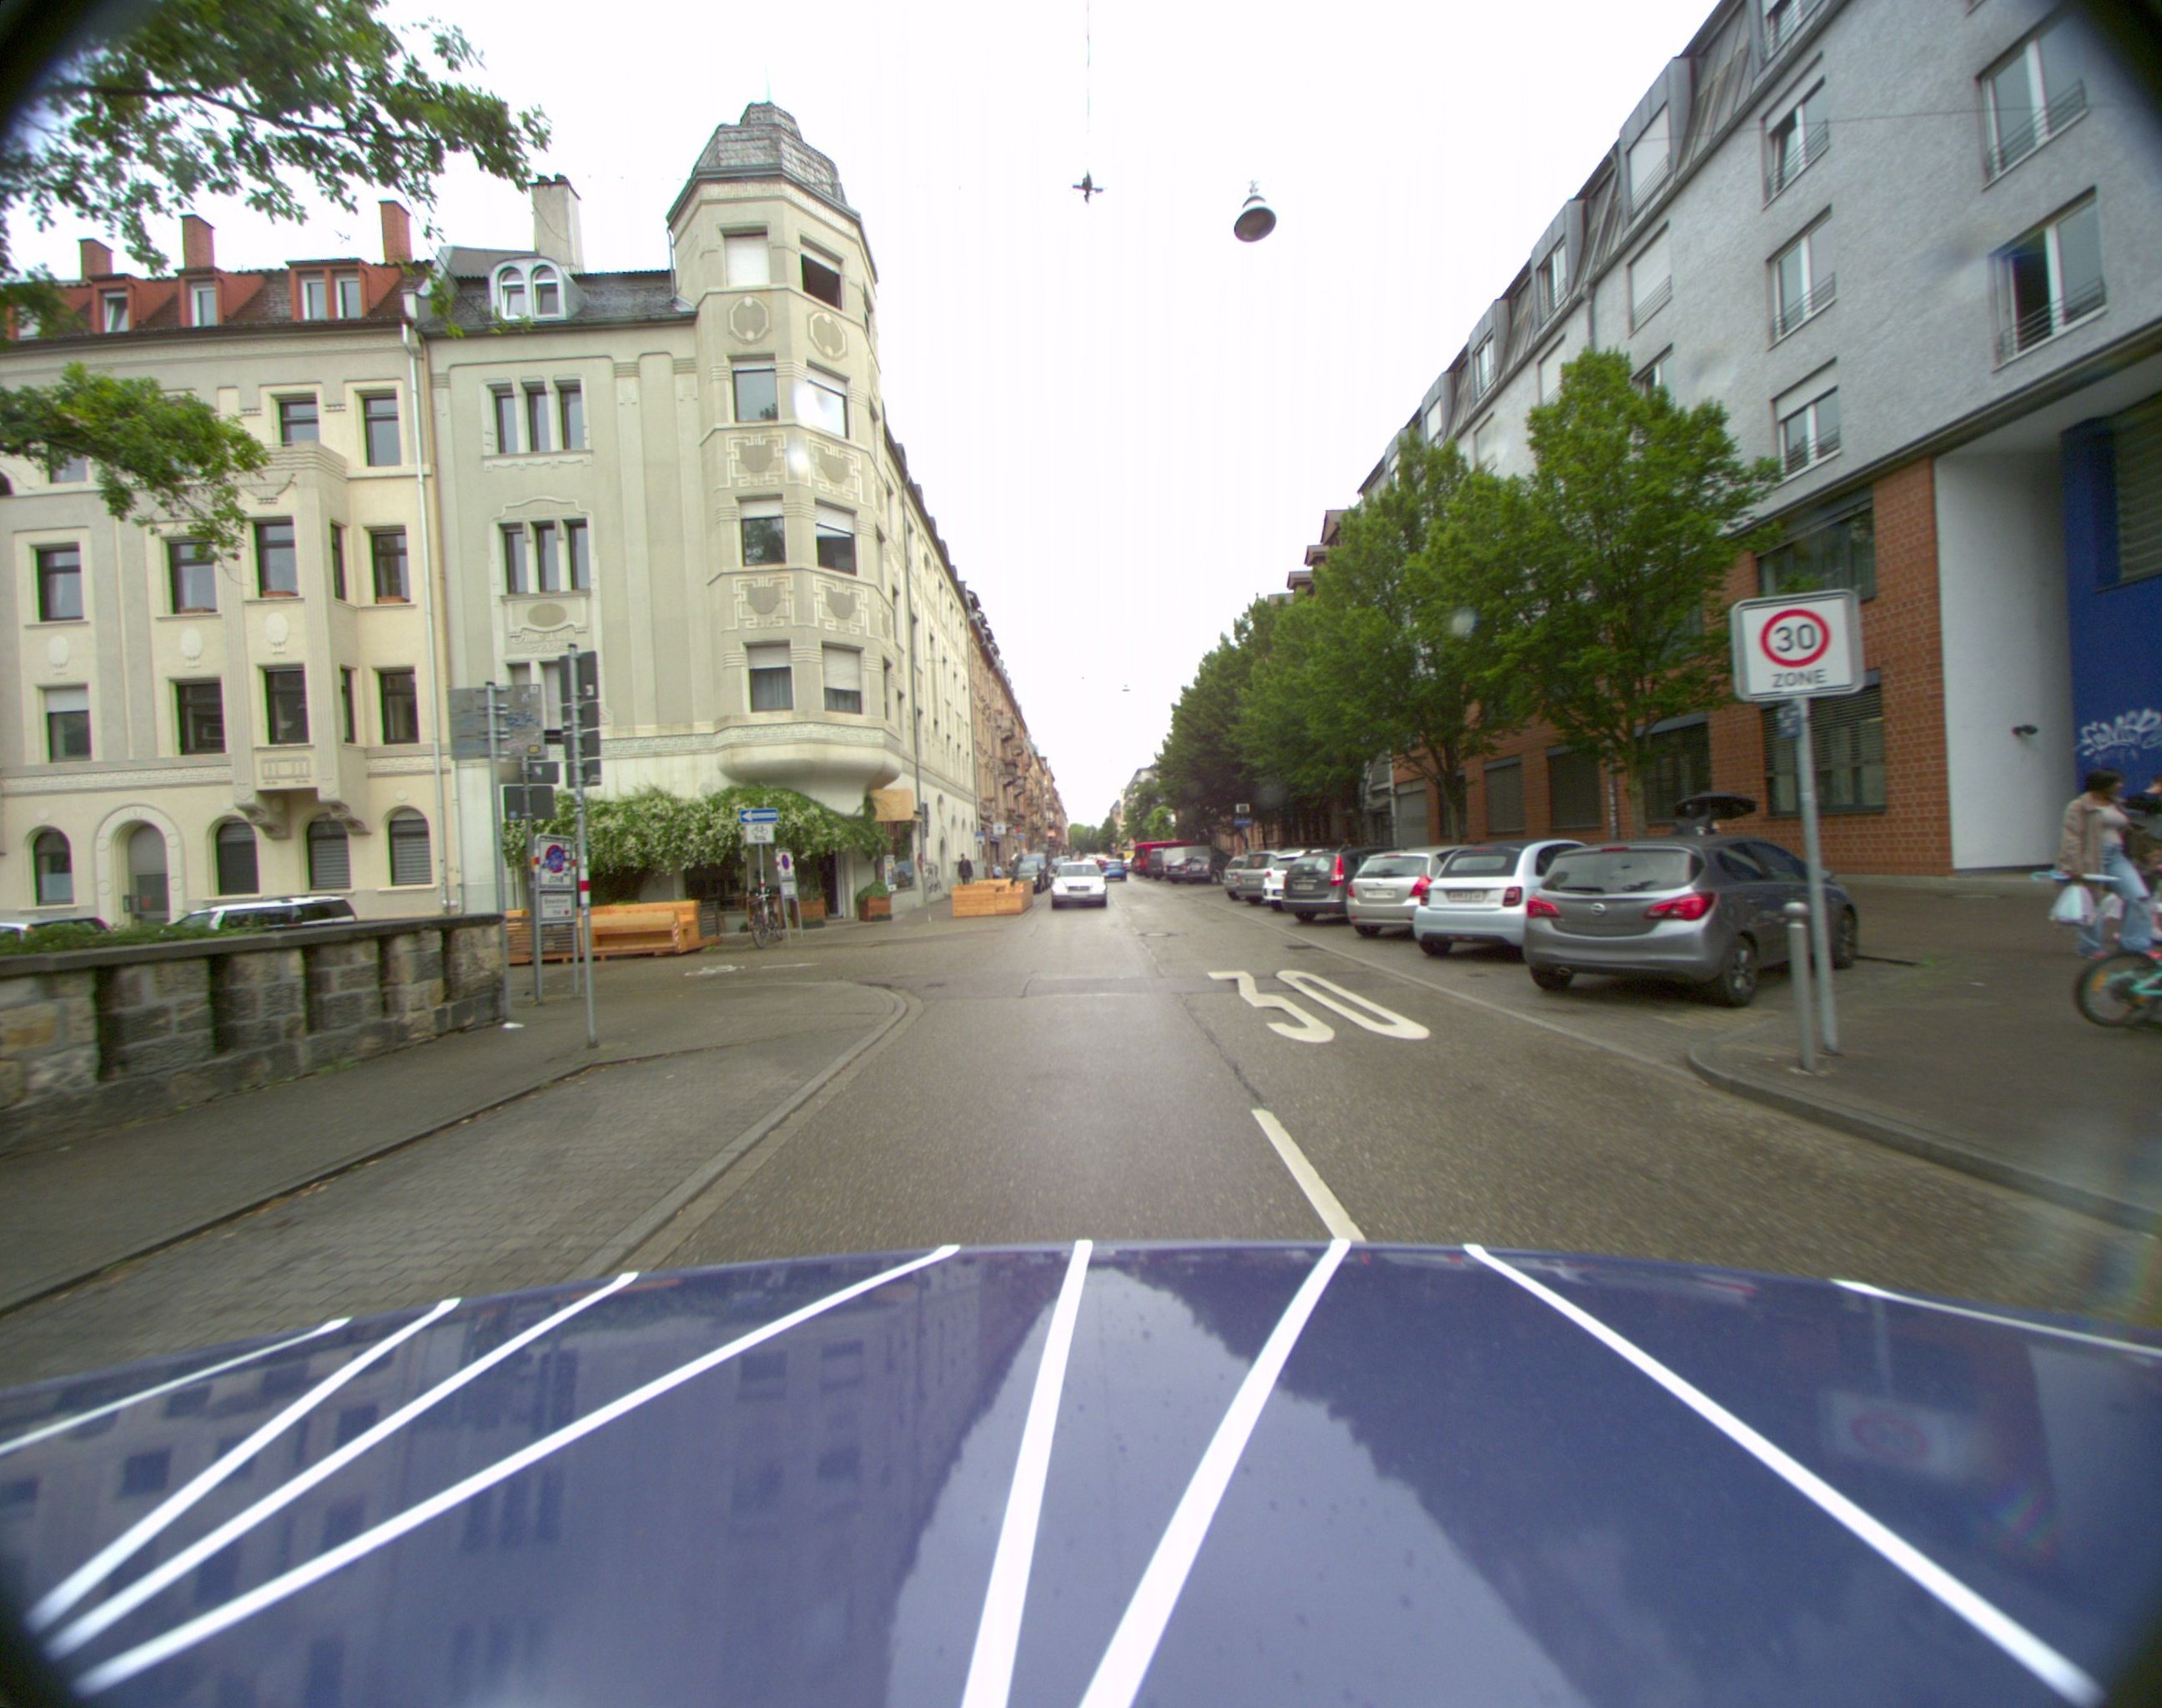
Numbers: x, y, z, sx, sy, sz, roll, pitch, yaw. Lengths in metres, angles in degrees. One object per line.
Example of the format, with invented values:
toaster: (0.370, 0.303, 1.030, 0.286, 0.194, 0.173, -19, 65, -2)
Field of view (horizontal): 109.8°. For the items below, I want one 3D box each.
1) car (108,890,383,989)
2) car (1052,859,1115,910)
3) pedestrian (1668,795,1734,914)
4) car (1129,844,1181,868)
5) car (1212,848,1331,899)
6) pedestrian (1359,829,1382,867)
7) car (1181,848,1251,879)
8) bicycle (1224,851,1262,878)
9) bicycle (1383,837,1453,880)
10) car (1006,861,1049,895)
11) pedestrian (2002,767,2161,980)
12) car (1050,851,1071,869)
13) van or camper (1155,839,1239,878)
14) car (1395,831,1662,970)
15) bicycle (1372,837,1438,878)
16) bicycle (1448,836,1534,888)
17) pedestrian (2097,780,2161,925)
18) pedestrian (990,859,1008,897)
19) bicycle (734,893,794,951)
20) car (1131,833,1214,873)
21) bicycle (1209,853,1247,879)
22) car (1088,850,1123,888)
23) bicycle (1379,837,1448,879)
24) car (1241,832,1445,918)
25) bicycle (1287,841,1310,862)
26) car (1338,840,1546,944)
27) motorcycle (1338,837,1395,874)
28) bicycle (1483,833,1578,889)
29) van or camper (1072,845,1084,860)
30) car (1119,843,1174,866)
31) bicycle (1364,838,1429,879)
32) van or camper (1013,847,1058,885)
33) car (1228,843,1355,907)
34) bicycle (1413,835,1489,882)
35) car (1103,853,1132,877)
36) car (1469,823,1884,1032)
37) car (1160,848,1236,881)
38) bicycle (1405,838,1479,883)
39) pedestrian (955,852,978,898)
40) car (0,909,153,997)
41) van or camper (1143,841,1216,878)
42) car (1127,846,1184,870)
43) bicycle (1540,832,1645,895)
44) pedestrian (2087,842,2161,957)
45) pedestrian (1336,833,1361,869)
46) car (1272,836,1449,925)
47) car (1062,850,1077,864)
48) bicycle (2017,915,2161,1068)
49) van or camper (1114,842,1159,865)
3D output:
car: (-18.355, 1.831, 16.855, 3.851, 1.690, 1.813, -3, 4, -1)
car: (0.029, 0.942, 25.744, 1.859, 1.390, 4.979, -3, 0, -1)
pedestrian: (9.187, -0.001, 11.266, 0.613, 1.698, 0.433, -3, 3, 1)
car: (7.003, 0.166, 72.427, 4.590, 1.775, 2.545, -5, 0, 0)
car: (6.244, 0.607, 24.756, 3.720, 1.443, 1.681, -2, 0, -35)
pedestrian: (12.564, -0.248, 32.998, 0.568, 1.593, 0.589, -7, 1, -5)
car: (6.934, 0.473, 38.860, 3.487, 1.427, 1.647, -2, 0, -42)
bicycle: (7.602, 0.517, 35.698, 0.784, 1.151, 2.144, -4, -1, -16)
bicycle: (10.897, 0.158, 24.592, 1.901, 1.145, 0.553, -7, 1, -2)
car: (-2.443, 1.075, 35.531, 1.714, 1.392, 3.704, -2, 0, 0)
pedestrian: (9.065, 0.147, 6.692, 0.827, 1.742, 0.757, -5, 0, 7)
car: (-2.145, 0.622, 79.954, 1.999, 1.769, 4.825, -2, 0, -1)
van or camper: (7.037, 0.256, 45.823, 4.705, 1.941, 2.331, -5, 0, -41)
car: (6.229, 0.546, 10.534, 3.391, 1.499, 1.677, -4, 1, -30)
bicycle: (10.916, 0.119, 25.622, 1.901, 1.145, 0.553, -7, 1, -2)
bicycle: (10.969, 0.215, 20.353, 1.901, 1.145, 0.553, -7, 1, -2)
pedestrian: (11.935, -0.036, 8.297, 0.710, 1.542, 0.608, -5, 0, 7)
pedestrian: (-4.399, 1.290, 40.833, 0.827, 2.003, 0.415, -3, 3, 1)
bicycle: (-6.922, 1.455, 16.682, 0.453, 0.974, 1.919, -3, 3, 0)
car: (6.715, -0.079, 55.497, 5.580, 2.526, 2.225, -4, 0, -27)
bicycle: (6.844, 0.585, 35.481, 0.751, 1.151, 2.218, -4, -1, -16)
car: (2.294, 1.397, 69.349, 1.671, 1.543, 4.027, -5, -34, 23)
bicycle: (10.955, 0.137, 25.064, 1.901, 1.145, 0.553, -7, 1, -2)
car: (6.651, 0.451, 19.257, 4.530, 1.531, 2.332, -7, 3, -28)
bicycle: (13.501, -0.148, 47.232, 0.669, 1.186, 2.413, -7, 0, 1)
car: (6.314, 0.586, 13.222, 3.391, 1.449, 1.677, -4, 1, -33)
motorcycle: (11.124, 0.062, 29.645, 1.886, 1.218, 0.657, -7, 0, 4)
bicycle: (11.022, 0.169, 18.649, 1.901, 1.145, 0.553, -7, 1, -2)
van or camper: (-0.662, -0.280, 172.334, 2.411, 3.308, 7.072, -4, 0, -1)
car: (6.692, 0.046, 77.742, 5.258, 2.066, 1.866, -4, 1, -24)
bicycle: (10.865, 0.149, 26.157, 1.901, 1.145, 0.553, -7, 1, -2)
van or camper: (-2.373, 0.606, 40.863, 2.026, 1.880, 5.054, -2, 0, 0)
car: (6.080, 0.563, 21.876, 3.392, 1.645, 1.630, -2, 1, -32)
bicycle: (10.998, 0.131, 22.601, 1.901, 1.145, 0.553, -7, 1, -2)
car: (2.446, 0.737, 52.107, 1.674, 1.457, 4.003, -2, 0, -1)
car: (6.104, 0.560, 7.751, 3.836, 1.499, 1.984, -4, 1, -30)
car: (6.431, 0.545, 41.557, 3.985, 1.438, 1.763, -5, 1, -40)
bicycle: (11.035, 0.201, 23.227, 1.901, 1.145, 0.553, -7, 1, -2)
pedestrian: (-4.897, 0.899, 32.534, 0.827, 1.940, 0.415, -3, 3, 1)
car: (-23.748, 2.219, 16.867, 3.851, 1.580, 1.813, -3, 4, 0)
van or camper: (6.400, 0.341, 49.033, 4.454, 1.964, 1.777, -5, 1, -32)
car: (6.494, 0.322, 66.205, 4.450, 1.621, 1.841, -6, 1, -26)
bicycle: (11.464, 0.205, 17.047, 1.901, 1.145, 0.553, -7, 1, -2)
pedestrian: (10.109, 0.412, 7.153, 0.472, 1.011, 0.542, -5, 0, 7)
pedestrian: (11.617, -0.121, 32.962, 0.690, 1.488, 0.587, -7, 1, -5)
car: (5.926, 0.508, 16.084, 3.391, 1.533, 1.677, -4, 1, -30)
car: (-1.712, 0.419, 109.721, 1.999, 1.927, 5.228, -2, 1, -2)
bicycle: (6.840, 0.773, 4.568, 1.726, 0.765, 0.506, -4, 1, 1)
van or camper: (6.536, -0.048, 89.196, 4.733, 2.254, 2.180, -5, 0, -32)
